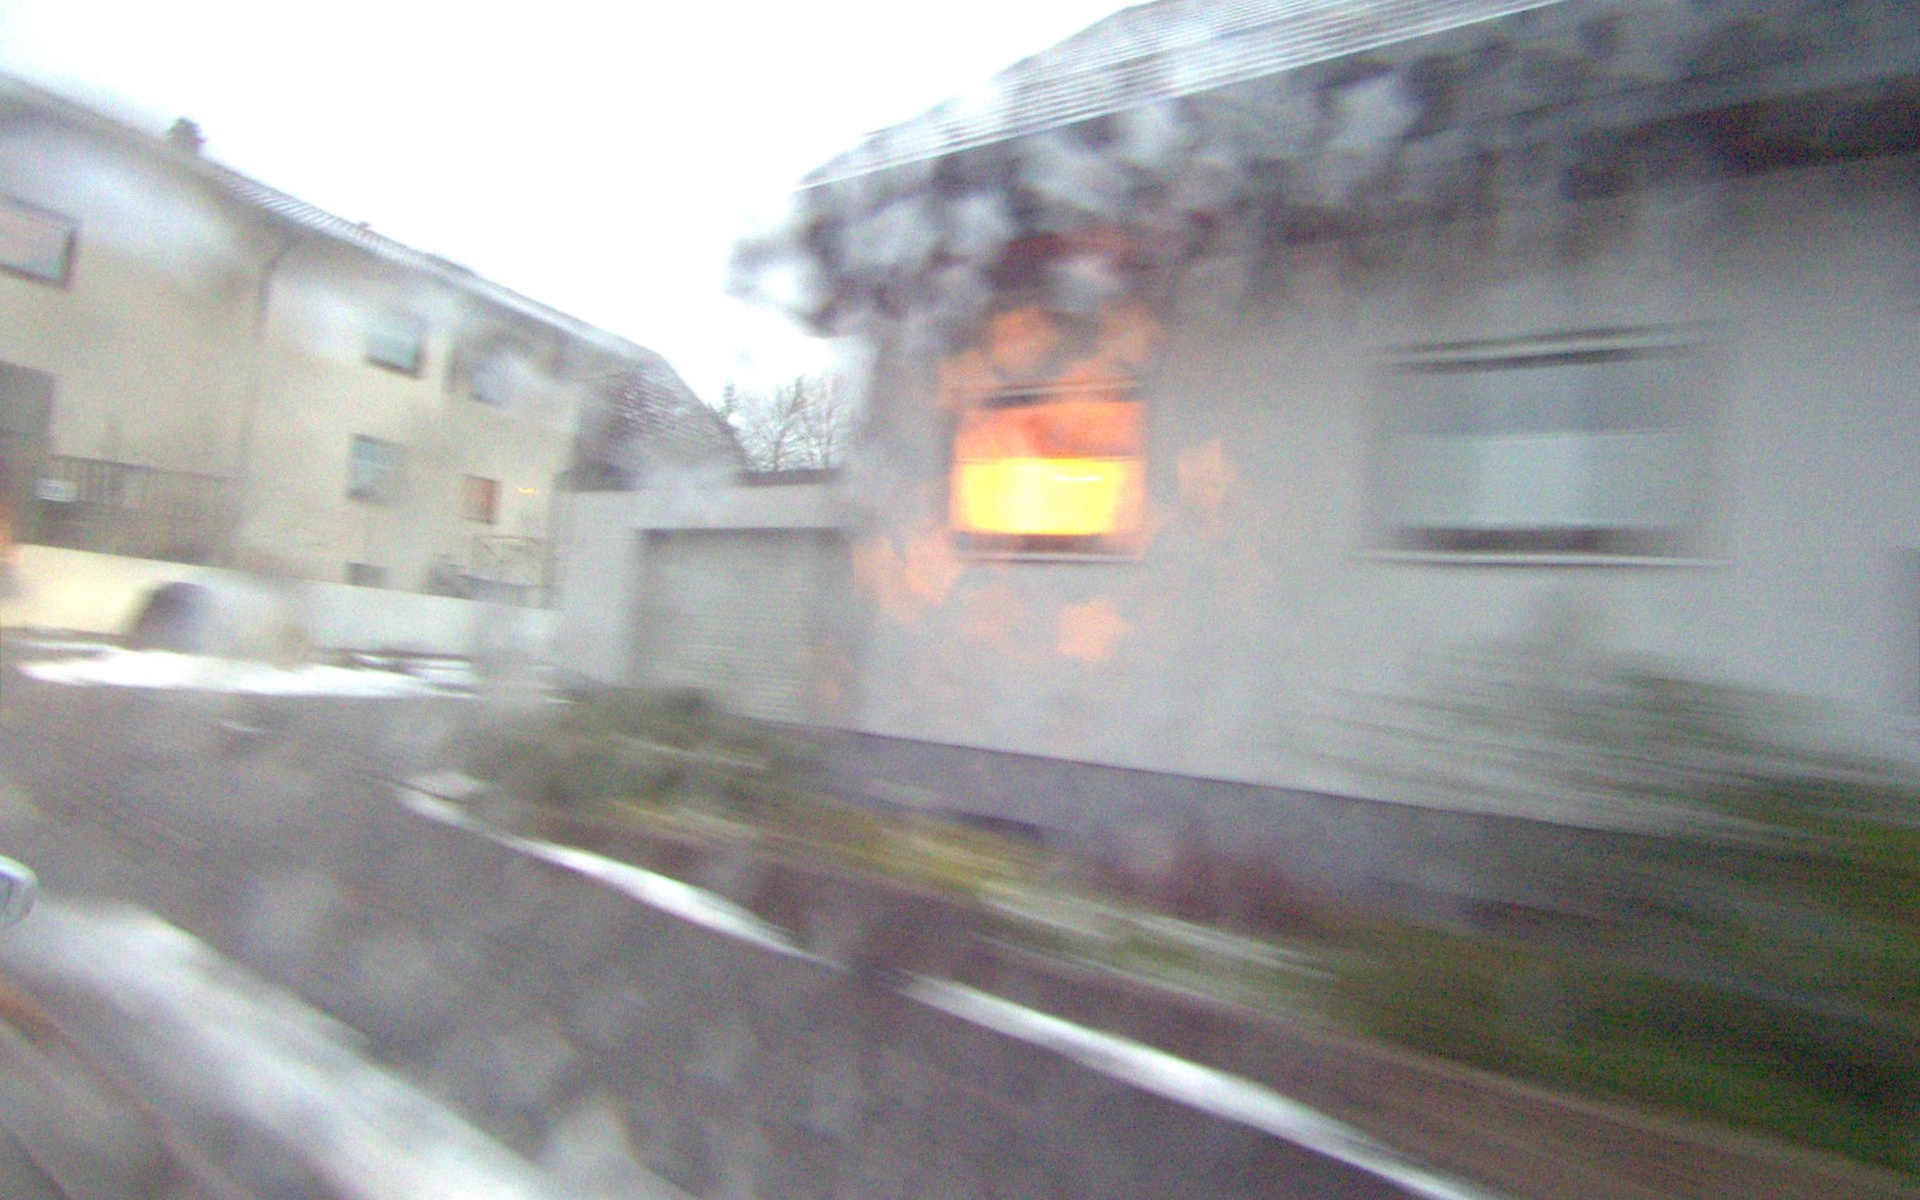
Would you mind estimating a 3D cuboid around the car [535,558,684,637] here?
[{"bbox_3d":[-8.570,0.009,24.995,1.703,1.421,4.008,7,-4,9],"label":"car"}]
